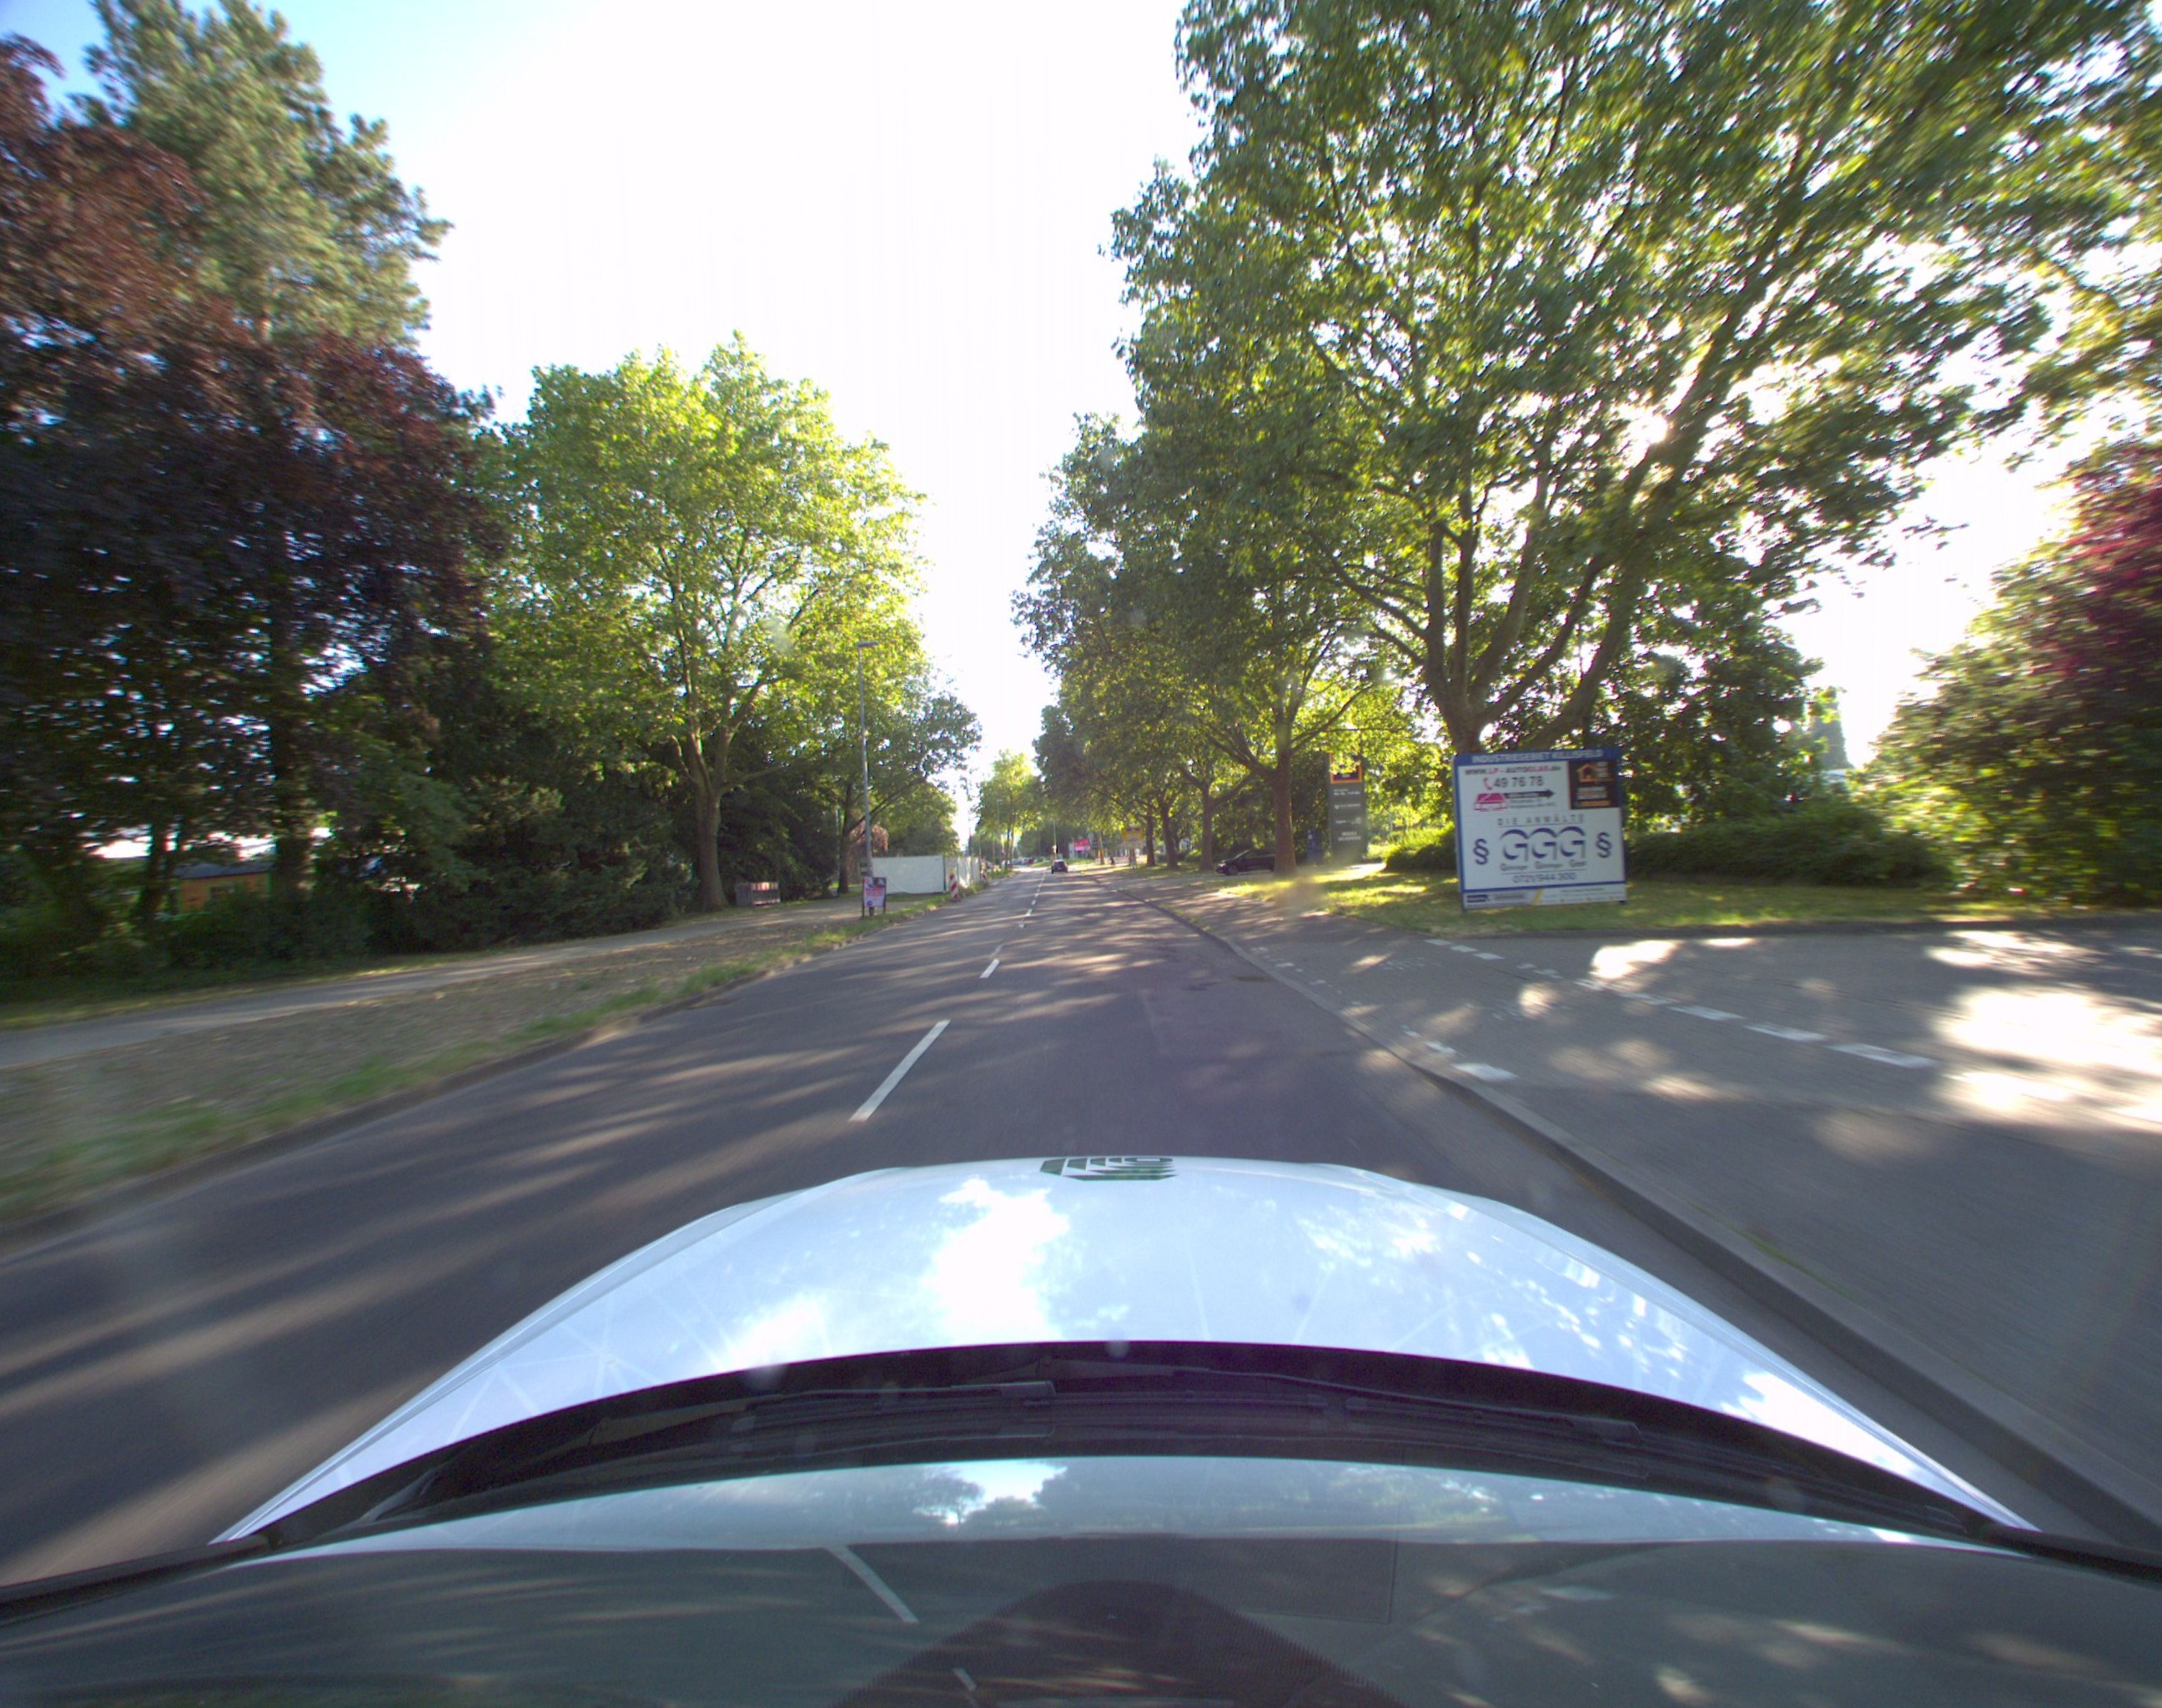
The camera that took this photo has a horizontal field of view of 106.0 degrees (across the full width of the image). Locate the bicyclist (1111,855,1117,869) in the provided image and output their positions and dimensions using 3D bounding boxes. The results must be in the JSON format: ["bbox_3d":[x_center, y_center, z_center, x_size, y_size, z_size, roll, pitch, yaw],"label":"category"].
[{"bbox_3d":[4.220,0.992,102.794,0.649,1.705,0.871,-2,0,-2],"label":"bicyclist"}]

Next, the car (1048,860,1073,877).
[{"bbox_3d":[-2.195,1.603,88.850,1.827,1.605,3.875,-5,-1,12],"label":"car"}]

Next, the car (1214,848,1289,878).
[{"bbox_3d":[9.881,0.523,47.430,3.973,1.443,1.761,-4,0,0],"label":"car"}]

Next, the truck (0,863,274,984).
[{"bbox_3d":[-21.931,1.474,19.002,2.073,2.419,4.000,-4,-1,1],"label":"truck"}]

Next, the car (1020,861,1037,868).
[{"bbox_3d":[-14.439,2.759,223.962,4.014,1.747,1.777,-2,0,-32],"label":"car"}]

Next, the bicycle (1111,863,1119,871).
[{"bbox_3d":[4.250,1.679,102.786,0.768,0.964,2.172,-5,-1,-2],"label":"bicycle"}]

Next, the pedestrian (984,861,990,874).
[{"bbox_3d":[-12.534,1.817,108.549,0.630,1.739,0.664,-3,0,-1],"label":"pedestrian"}]

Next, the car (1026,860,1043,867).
[{"bbox_3d":[-12.636,2.656,220.978,4.014,1.747,1.777,-2,0,-32],"label":"car"}]

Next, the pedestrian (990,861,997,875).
[{"bbox_3d":[-11.690,1.872,108.927,0.746,1.739,0.851,-3,0,-1],"label":"pedestrian"}]

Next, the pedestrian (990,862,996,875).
[{"bbox_3d":[-11.672,1.880,108.121,0.631,1.637,0.576,-3,0,-2],"label":"pedestrian"}]
